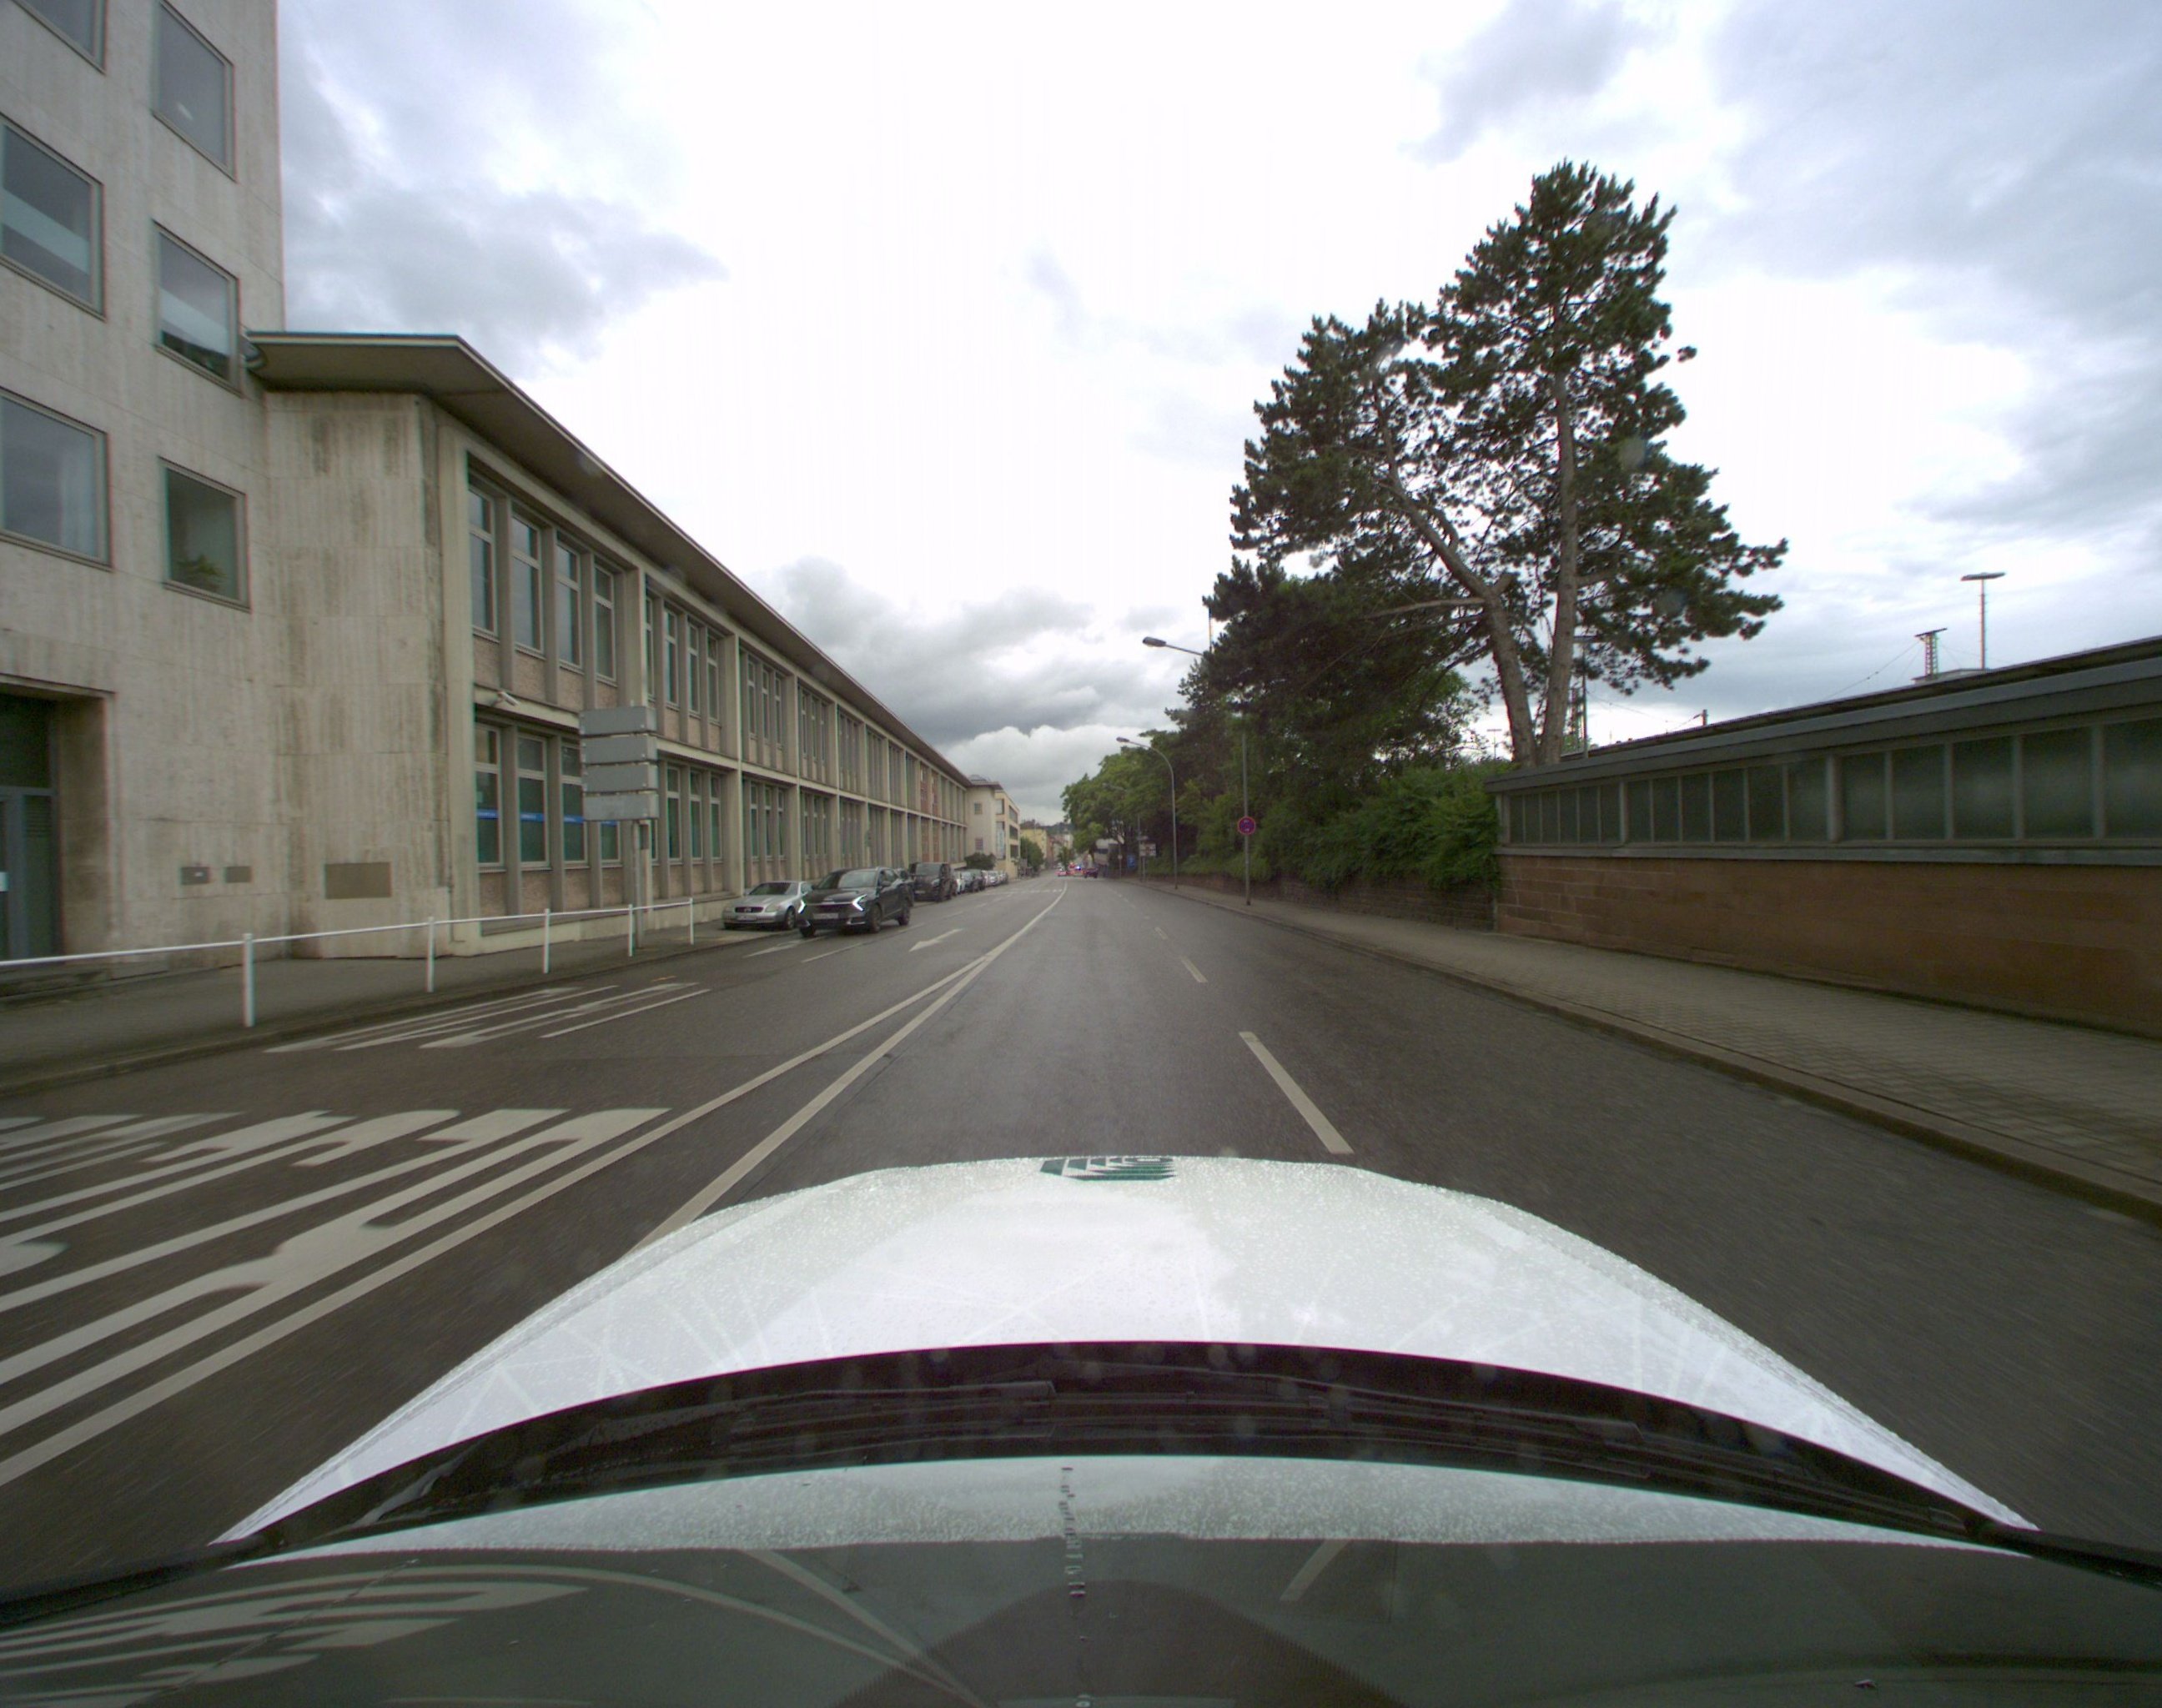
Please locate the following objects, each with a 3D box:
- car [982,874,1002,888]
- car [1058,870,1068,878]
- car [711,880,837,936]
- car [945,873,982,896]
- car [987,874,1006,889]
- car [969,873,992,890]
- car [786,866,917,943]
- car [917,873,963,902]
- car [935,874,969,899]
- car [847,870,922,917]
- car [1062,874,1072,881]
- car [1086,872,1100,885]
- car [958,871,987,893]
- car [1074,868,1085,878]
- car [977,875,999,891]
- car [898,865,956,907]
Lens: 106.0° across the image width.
[{"bbox_3d":[-9.093,2.759,83.585,1.744,1.454,4.176,0,-1,-3],"label":"car"},{"bbox_3d":[-4.177,4.515,186.899,1.991,1.680,3.991,-1,-1,-6],"label":"car"},{"bbox_3d":[-8.339,1.421,22.545,1.684,1.297,4.097,-1,-1,4],"label":"car"},{"bbox_3d":[-8.288,2.114,57.671,1.809,1.484,4.908,-1,-1,0],"label":"car"},{"bbox_3d":[-9.191,2.984,88.891,1.743,1.598,4.178,0,-1,-2],"label":"car"},{"bbox_3d":[-8.970,2.447,72.907,1.674,1.523,3.918,-1,-1,-1],"label":"car"},{"bbox_3d":[-5.729,1.200,20.919,1.814,1.660,4.341,-3,-1,3],"label":"car"},{"bbox_3d":[-8.188,1.925,47.676,1.855,1.552,4.312,-2,-1,0],"label":"car"},{"bbox_3d":[-8.286,2.038,52.394,1.561,1.484,3.552,-2,-1,0],"label":"car"},{"bbox_3d":[-7.866,1.535,33.063,1.790,1.675,4.604,-1,-1,1],"label":"car"},{"bbox_3d":[-3.454,5.673,198.542,1.991,1.680,3.991,-1,-1,-6],"label":"car"},{"bbox_3d":[1.955,4.137,135.985,2.085,1.910,4.098,-3,0,-1],"label":"car"},{"bbox_3d":[-8.425,2.212,63.644,1.836,1.653,4.511,0,-2,-2],"label":"car"},{"bbox_3d":[-0.382,3.767,163.866,1.988,1.838,3.998,-3,0,-1],"label":"car"},{"bbox_3d":[-8.878,2.774,78.126,1.744,1.435,4.481,0,-2,-3],"label":"car"},{"bbox_3d":[-7.824,1.577,41.929,1.942,1.944,4.995,-2,-1,0],"label":"car"}]
